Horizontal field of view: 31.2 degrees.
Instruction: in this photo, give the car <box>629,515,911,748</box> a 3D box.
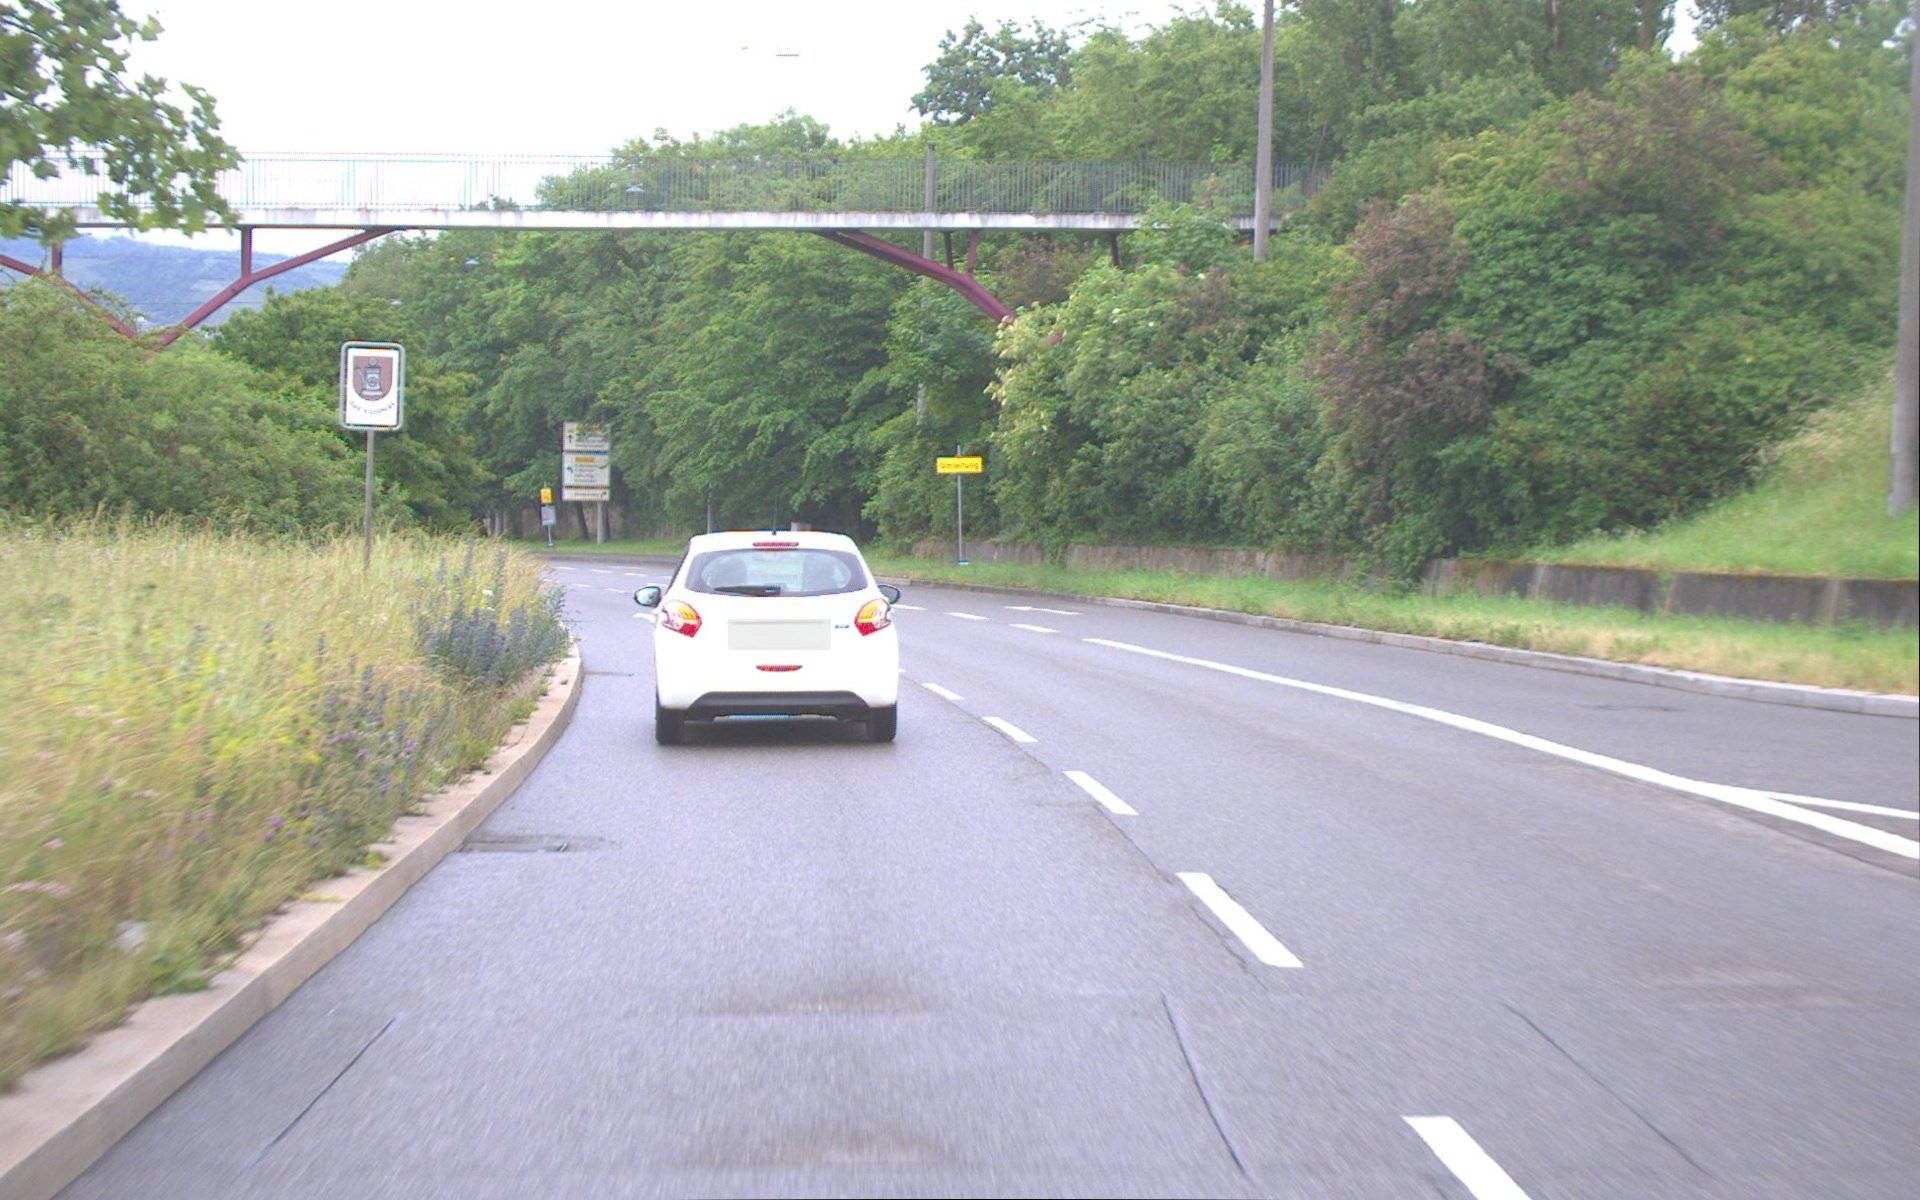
[{"bbox_3d":[-1.384,0.163,24.966,1.868,1.505,3.900,1,2,-3],"label":"car"}]
